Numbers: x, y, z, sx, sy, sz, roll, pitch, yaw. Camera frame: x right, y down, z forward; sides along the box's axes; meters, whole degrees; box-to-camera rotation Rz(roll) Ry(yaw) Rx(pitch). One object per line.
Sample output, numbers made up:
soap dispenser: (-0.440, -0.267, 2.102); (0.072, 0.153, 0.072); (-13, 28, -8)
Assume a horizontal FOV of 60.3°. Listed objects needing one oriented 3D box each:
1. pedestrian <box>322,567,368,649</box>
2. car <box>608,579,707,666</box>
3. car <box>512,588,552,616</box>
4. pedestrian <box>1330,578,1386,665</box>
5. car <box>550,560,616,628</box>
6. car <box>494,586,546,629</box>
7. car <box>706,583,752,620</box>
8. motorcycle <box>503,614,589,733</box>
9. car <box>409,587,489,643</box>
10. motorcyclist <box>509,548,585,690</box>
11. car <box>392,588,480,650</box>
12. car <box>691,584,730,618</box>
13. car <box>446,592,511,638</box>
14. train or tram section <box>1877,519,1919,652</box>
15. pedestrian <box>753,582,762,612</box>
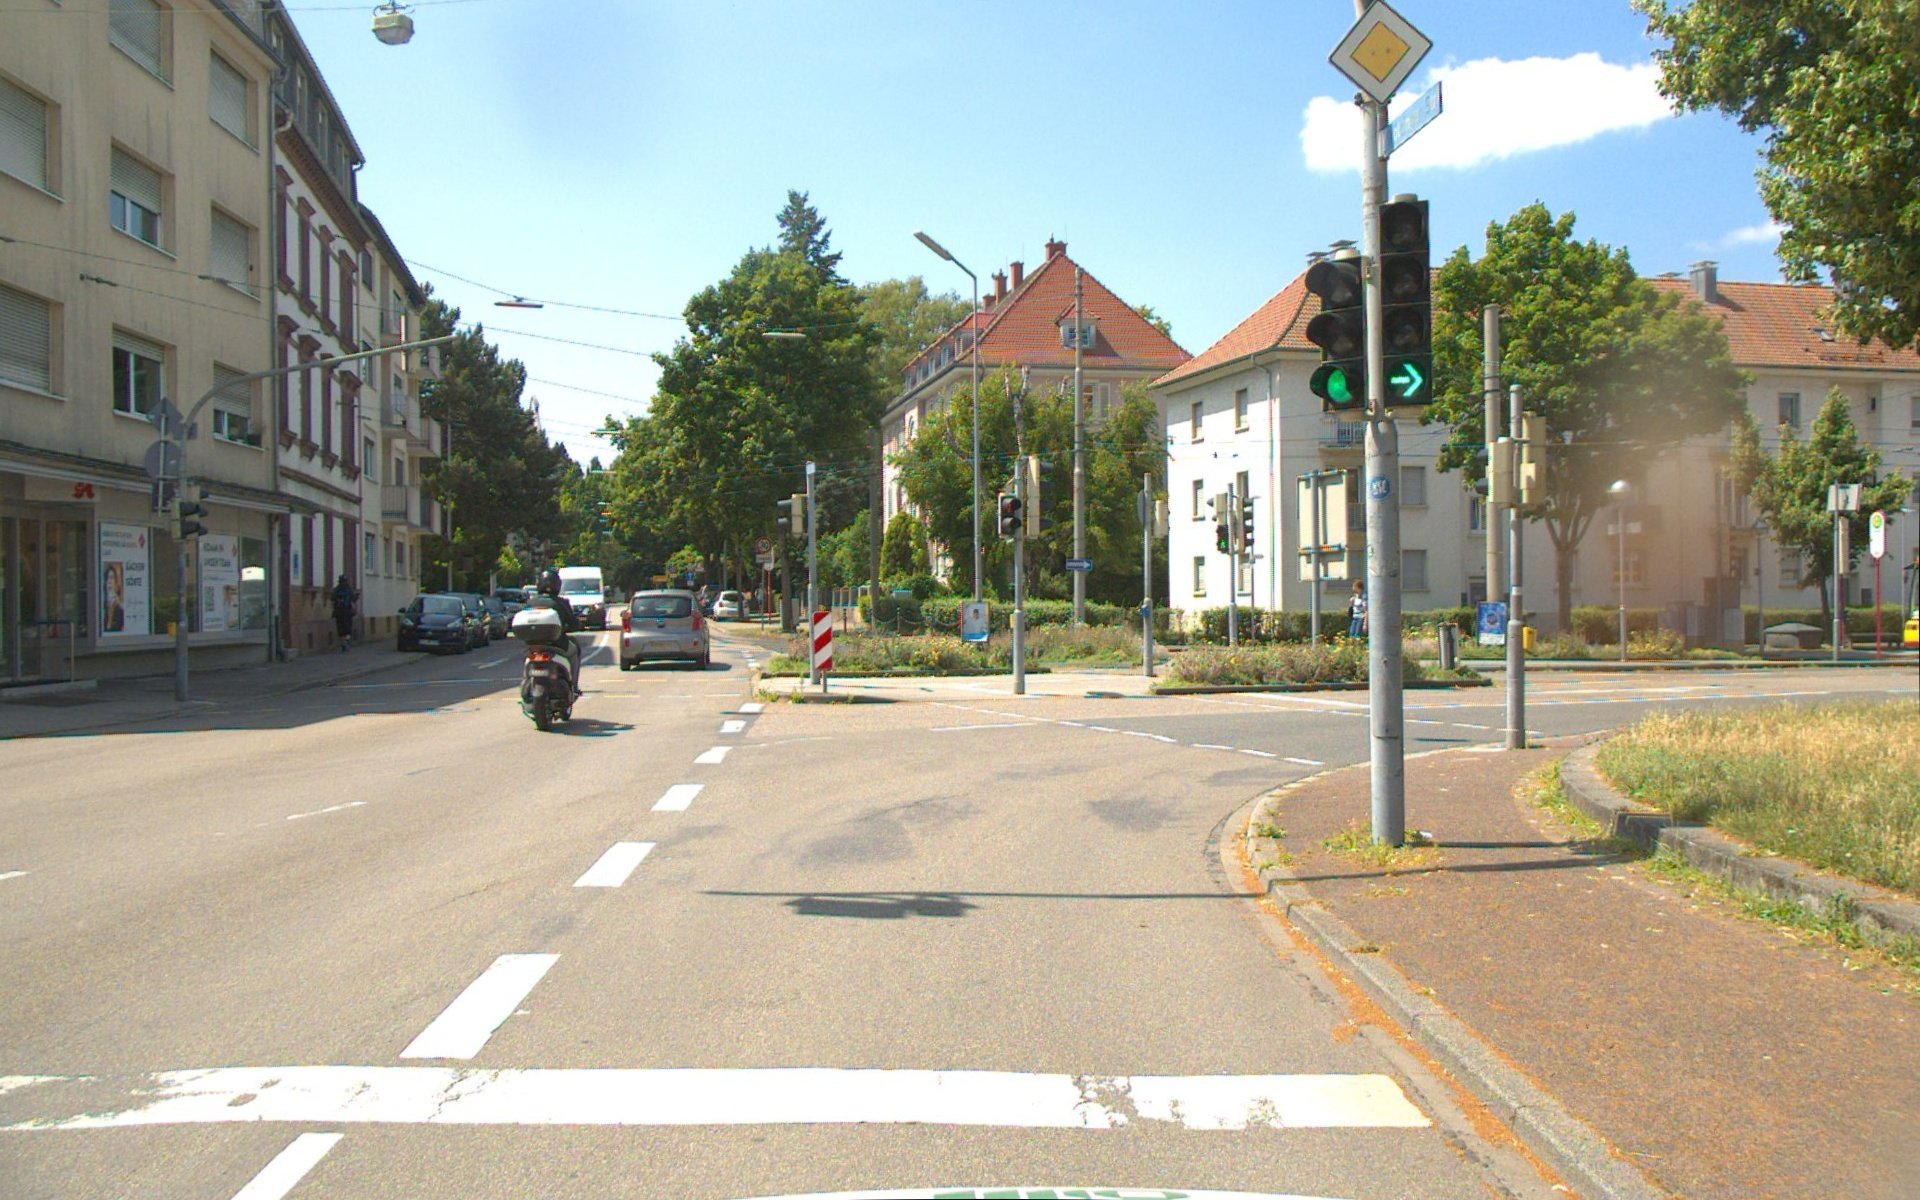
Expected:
pedestrian: (-14.992, 0.199, 40.318); (0.919, 1.965, 0.974); (0, 0, -13)
car: (-5.897, 0.407, 32.166); (1.767, 1.585, 4.026); (0, 0, -11)
car: (-25.762, 0.106, 99.660); (1.765, 1.585, 4.031); (3, 0, -7)
pedestrian: (8.109, 0.426, 33.734); (0.826, 1.735, 0.755); (0, 0, -28)
car: (-15.570, -0.247, 68.655); (2.176, 2.544, 7.535); (-3, 0, -10)
car: (-19.488, 0.326, 73.330); (1.766, 1.747, 4.028); (3, 0, -10)
car: (-11.826, 0.067, 84.397); (1.959, 1.839, 3.986); (0, 0, -13)
motorcycle: (-4.396, 0.748, 17.667); (0.698, 1.154, 2.192); (0, 0, -9)
car: (-14.966, 0.443, 48.586); (1.959, 1.546, 3.986); (1, -1, -14)
motorcyclist: (-4.391, 0.192, 17.651); (0.698, 1.471, 1.017); (0, 0, -9)
car: (-13.875, 0.510, 43.964); (1.960, 1.546, 3.985); (1, -1, -14)
car: (-14.729, 0.063, 97.517); (1.959, 1.940, 3.986); (0, 0, -13)
car: (-16.599, 0.509, 57.185); (1.960, 1.536, 3.986); (0, 0, -14)
train or tram section: (32.931, -0.425, 47.271); (13.904, 3.631, 2.806); (0, 0, -16)
pedestrian: (-11.383, -0.164, 92.895); (0.499, 1.685, 0.465); (1, 0, -8)
